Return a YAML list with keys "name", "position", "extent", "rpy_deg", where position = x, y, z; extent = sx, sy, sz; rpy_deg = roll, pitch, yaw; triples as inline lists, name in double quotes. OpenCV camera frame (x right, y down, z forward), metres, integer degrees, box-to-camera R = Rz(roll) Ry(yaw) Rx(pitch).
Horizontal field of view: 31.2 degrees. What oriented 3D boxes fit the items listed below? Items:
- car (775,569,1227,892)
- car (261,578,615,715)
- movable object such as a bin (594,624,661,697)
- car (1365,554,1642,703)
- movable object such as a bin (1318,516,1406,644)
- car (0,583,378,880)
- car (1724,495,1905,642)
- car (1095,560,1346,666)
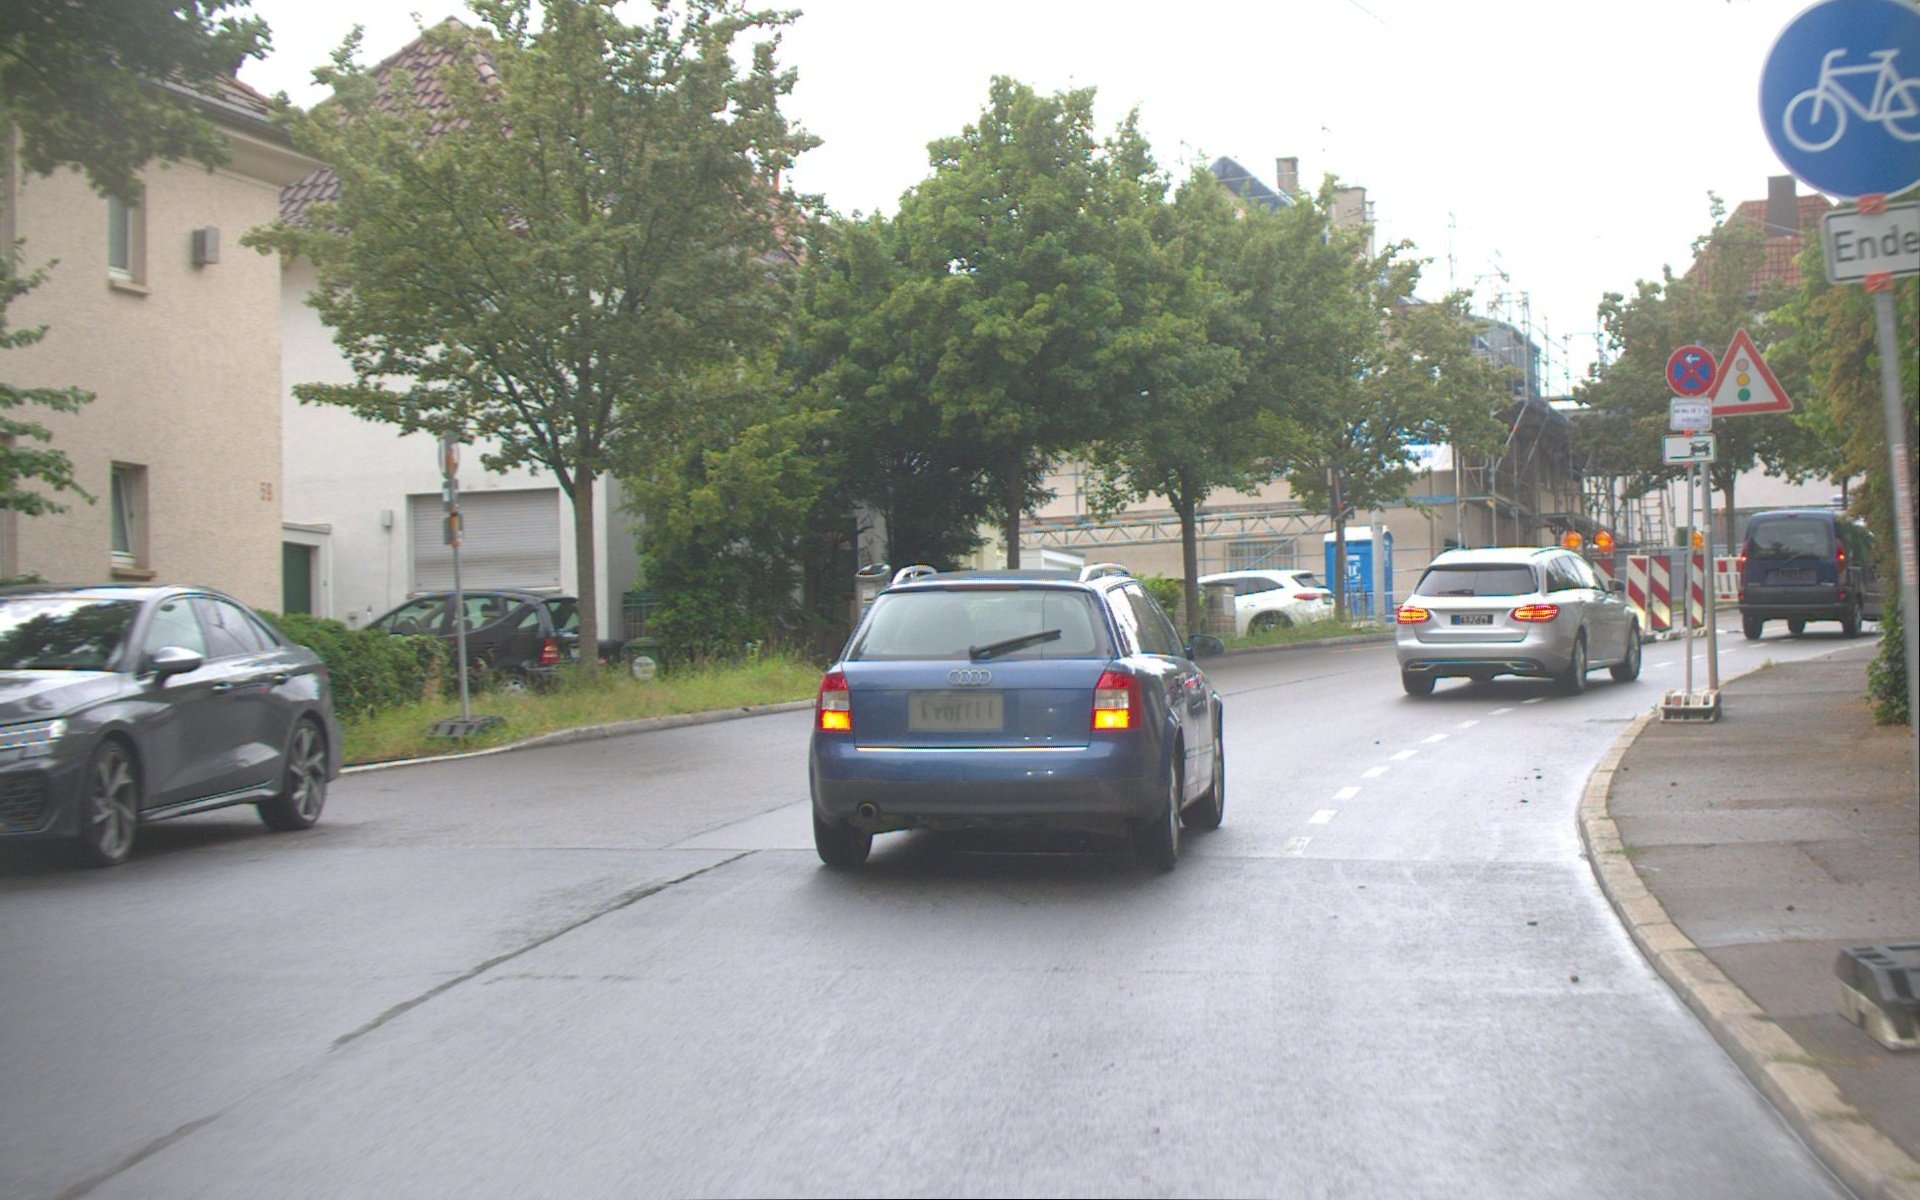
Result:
- name: "car"
  position: [0.330, 0.564, 17.388]
  extent: [1.778, 1.434, 3.999]
  rpy_deg: [0, 0, 8]
- name: "car"
  position: [-6.522, 0.547, 43.028]
  extent: [3.944, 1.537, 1.862]
  rpy_deg: [2, 1, 20]
- name: "movable object such as a bin"
  position: [-4.288, 0.781, 44.334]
  extent: [0.670, 0.918, 0.591]
  rpy_deg: [0, 1, 20]
- name: "car"
  position: [5.611, 0.255, 35.067]
  extent: [1.911, 1.383, 4.346]
  rpy_deg: [-1, 1, 21]
- name: "movable object such as a bin"
  position: [8.137, -0.406, 69.505]
  extent: [1.314, 2.497, 1.385]
  rpy_deg: [-3, 0, 23]
- name: "car"
  position: [-4.723, 0.608, 18.549]
  extent: [1.707, 1.378, 4.528]
  rpy_deg: [0, 0, 10]
- name: "car"
  position: [12.369, -0.466, 49.613]
  extent: [1.732, 1.888, 4.050]
  rpy_deg: [-5, -1, 24]
- name: "car"
  position: [4.892, 0.249, 64.526]
  extent: [4.201, 1.599, 1.948]
  rpy_deg: [-6, -2, 21]
